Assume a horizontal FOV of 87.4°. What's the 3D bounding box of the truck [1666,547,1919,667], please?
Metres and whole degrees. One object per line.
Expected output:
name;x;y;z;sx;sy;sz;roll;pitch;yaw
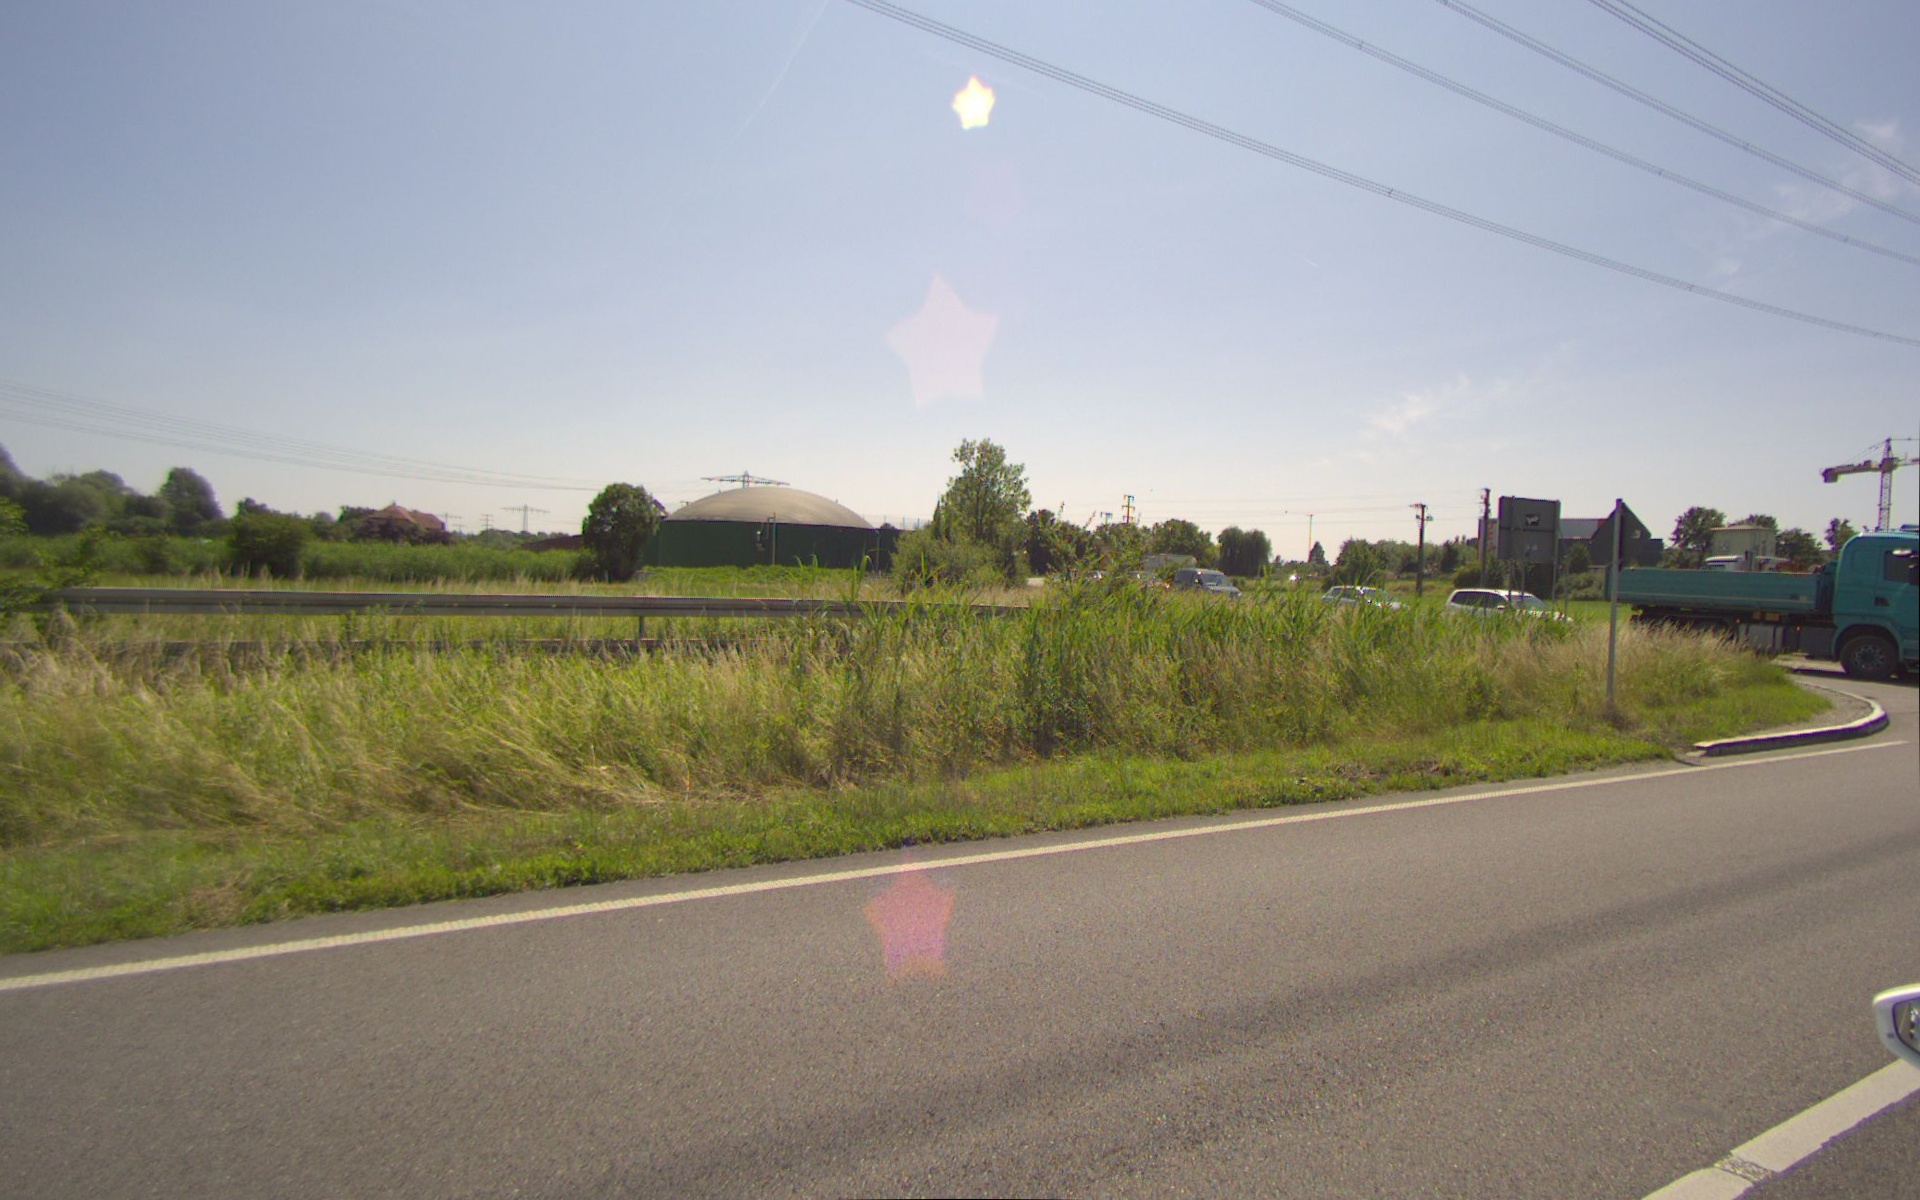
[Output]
truck;27.581;0.162;31.701;2.777;3.332;9.686;1;1;-8

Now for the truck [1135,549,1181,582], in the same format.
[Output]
truck;30.964;-5.273;156.536;3.621;4.708;13.226;2;1;26

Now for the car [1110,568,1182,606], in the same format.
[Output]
car;10.120;-0.750;54.952;1.886;1.874;4.464;1;2;-18

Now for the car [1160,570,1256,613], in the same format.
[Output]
car;11.888;-0.473;48.454;2.057;1.893;4.928;0;2;-21

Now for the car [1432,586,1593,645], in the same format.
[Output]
car;17.675;0.440;32.430;1.935;1.634;4.541;1;2;-15

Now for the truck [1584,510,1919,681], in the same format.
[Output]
truck;20.876;-0.256;25.862;2.466;3.785;7.874;1;3;-27
